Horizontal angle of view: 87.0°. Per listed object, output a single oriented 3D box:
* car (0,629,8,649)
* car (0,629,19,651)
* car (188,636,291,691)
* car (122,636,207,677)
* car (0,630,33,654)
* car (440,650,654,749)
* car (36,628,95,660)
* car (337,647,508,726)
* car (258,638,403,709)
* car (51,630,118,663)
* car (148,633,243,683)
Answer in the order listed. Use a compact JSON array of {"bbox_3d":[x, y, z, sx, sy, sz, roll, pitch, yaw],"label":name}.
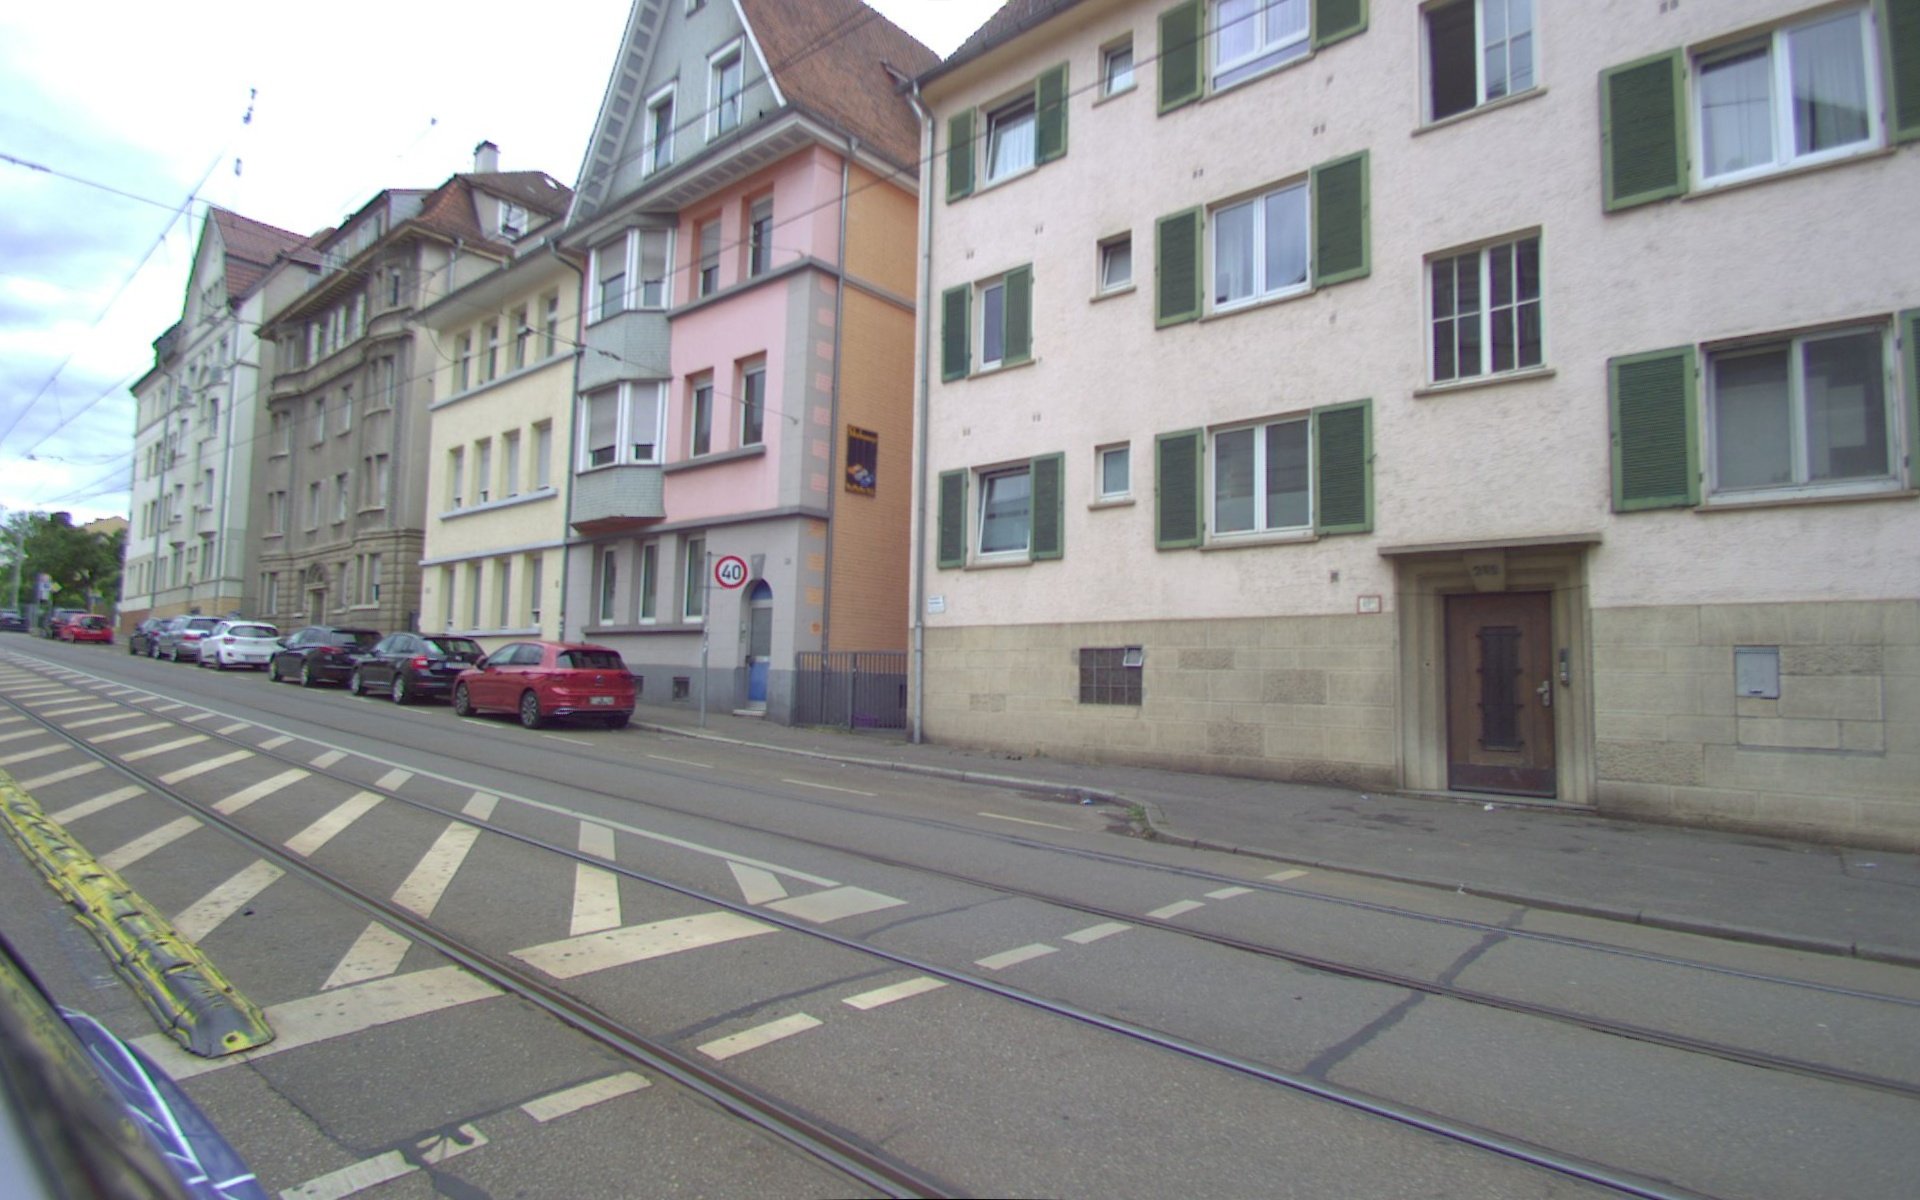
[{"bbox_3d":[-76.443,3.020,79.613,3.950,1.537,1.721,-1,-6,41],"label":"car"},{"bbox_3d":[-71.572,2.951,75.375,3.951,1.537,1.720,-1,-6,42],"label":"car"},{"bbox_3d":[-22.264,1.946,31.235,3.800,1.522,1.720,-1,-4,42],"label":"car"},{"bbox_3d":[-30.013,2.126,38.166,4.043,1.392,1.720,-1,-4,41],"label":"car"},{"bbox_3d":[-66.759,2.941,71.162,3.950,1.537,1.721,-1,-6,41],"label":"car"},{"bbox_3d":[-7.395,1.710,17.933,4.260,1.449,1.766,-1,-6,42],"label":"car"},{"bbox_3d":[-47.964,2.366,54.240,3.950,1.537,1.721,-1,-6,41],"label":"car"},{"bbox_3d":[-11.467,1.804,21.470,4.240,1.421,1.766,-1,-6,42],"label":"car"},{"bbox_3d":[-15.666,1.787,25.080,4.525,1.522,1.766,-1,-6,42],"label":"car"},{"bbox_3d":[-44.194,2.347,51.053,3.946,1.470,1.722,0,-5,38],"label":"car"},{"bbox_3d":[-26.349,1.972,34.838,4.141,1.579,1.720,-1,-4,41],"label":"car"}]
